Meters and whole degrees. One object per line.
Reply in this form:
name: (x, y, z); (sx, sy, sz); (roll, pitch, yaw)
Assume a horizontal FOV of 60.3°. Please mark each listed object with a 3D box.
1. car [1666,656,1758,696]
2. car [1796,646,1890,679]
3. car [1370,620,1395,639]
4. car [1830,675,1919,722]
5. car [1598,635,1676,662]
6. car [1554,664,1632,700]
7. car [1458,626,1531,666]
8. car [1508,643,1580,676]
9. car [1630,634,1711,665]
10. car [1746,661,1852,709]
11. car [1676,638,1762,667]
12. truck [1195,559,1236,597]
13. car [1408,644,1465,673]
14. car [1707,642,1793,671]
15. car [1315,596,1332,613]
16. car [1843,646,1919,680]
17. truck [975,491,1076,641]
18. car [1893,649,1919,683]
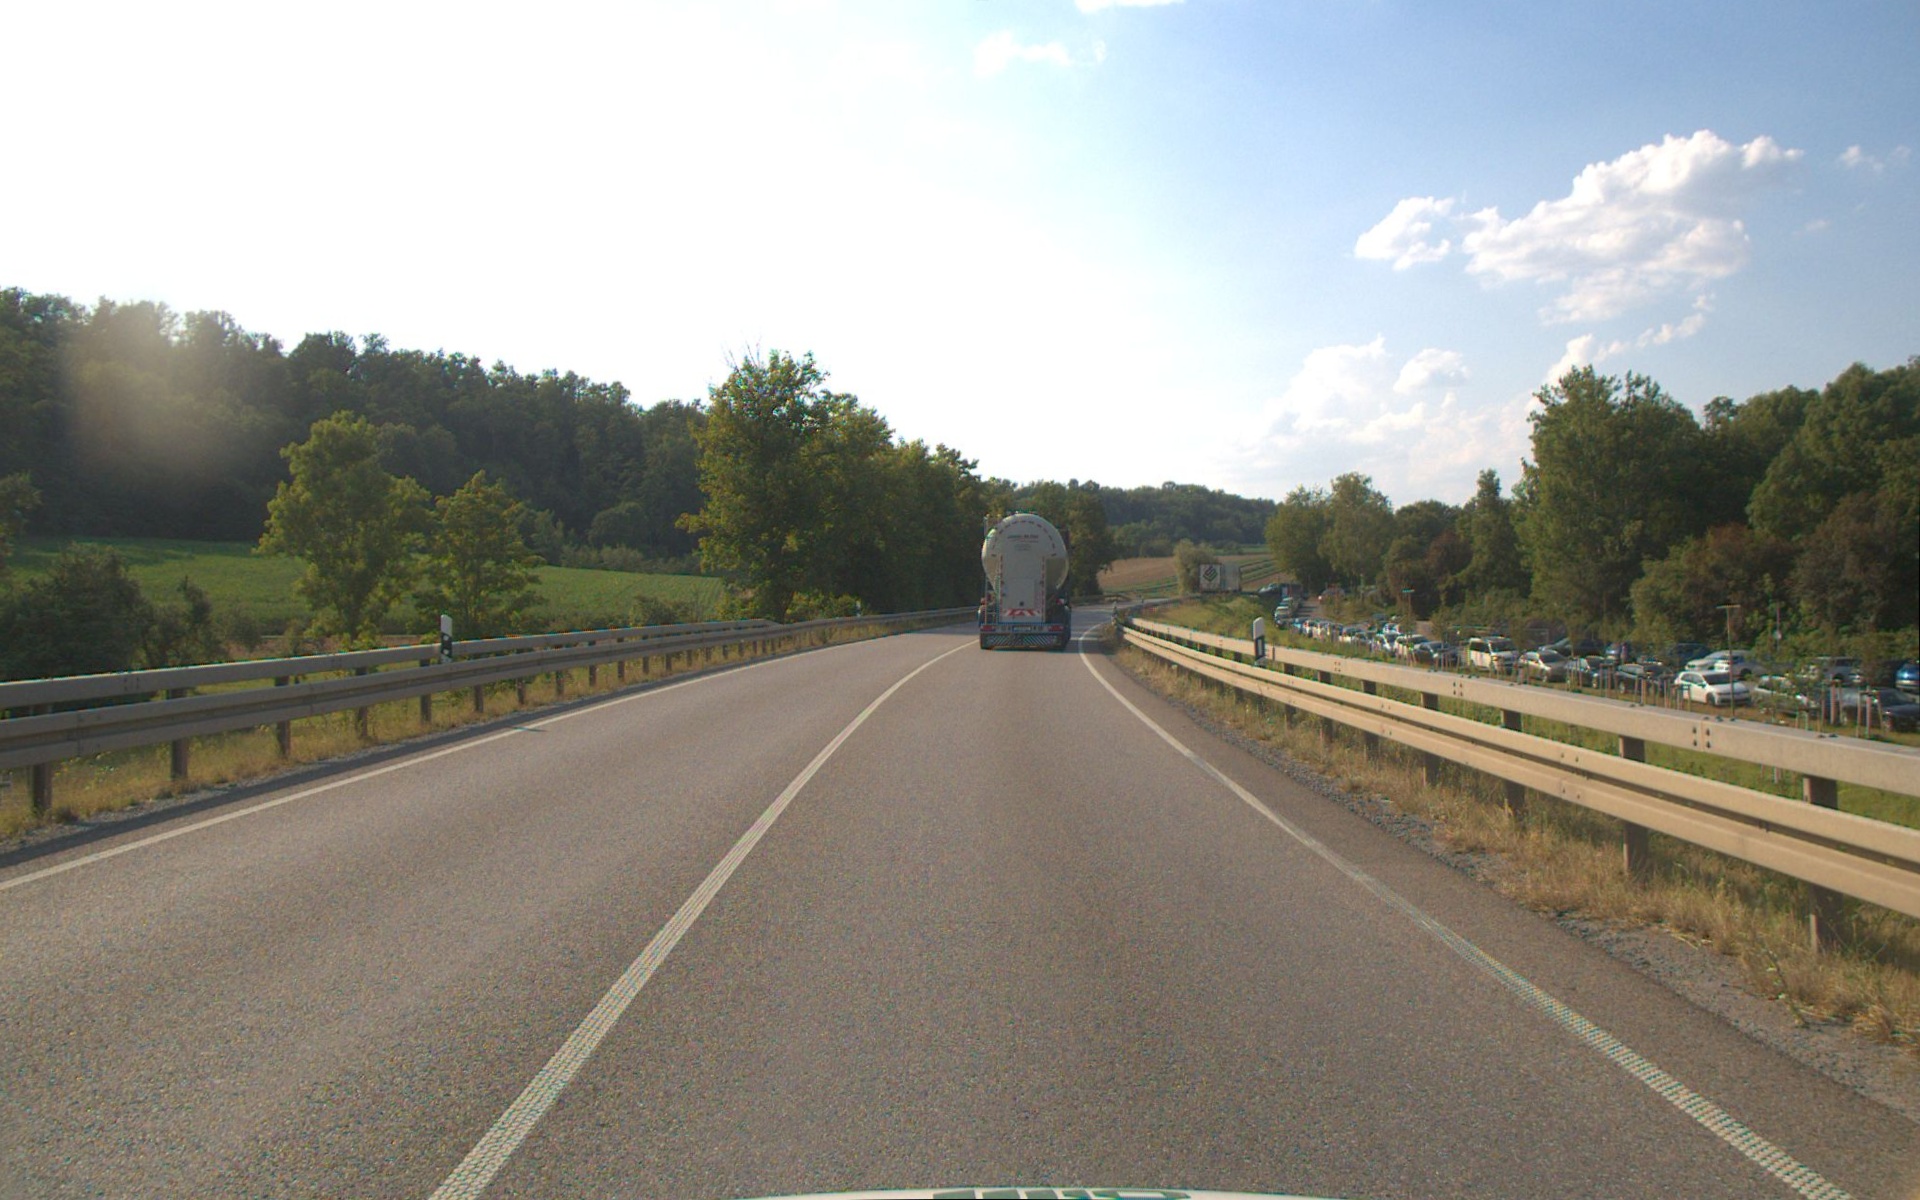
car: (34.895, 3.488, 76.885); (1.785, 1.508, 4.246); (-3, 1, -10)
car: (45.190, 3.165, 84.640); (4.330, 1.481, 1.727); (-1, 1, -17)
car: (37.548, 2.628, 147.100); (1.665, 1.423, 4.789); (-4, 0, 9)
car: (36.425, 3.830, 64.870); (1.785, 1.425, 4.246); (-3, 1, -10)
car: (41.987, 2.987, 102.657); (4.152, 1.632, 1.831); (0, 0, -7)
car: (33.401, 4.317, 87.360); (1.785, 1.508, 4.385); (-3, 1, -10)
car: (32.220, 2.753, 99.922); (2.079, 2.052, 5.372); (-4, 1, -6)
car: (32.887, 3.333, 93.285); (1.856, 1.508, 4.776); (-4, 1, -6)
car: (42.484, 2.951, 98.938); (4.158, 1.773, 1.828); (0, 1, -12)
car: (35.717, 3.581, 70.515); (1.785, 1.687, 4.246); (-3, 1, -10)
car: (42.640, 2.958, 92.959); (4.158, 1.524, 1.767); (0, 1, -12)
truck: (30.222, -2.645, 194.959); (3.116, 4.301, 13.182); (-1, 1, 16)
car: (31.319, 3.820, 108.782); (1.856, 1.508, 4.776); (-4, 1, -6)
car: (43.075, 3.062, 90.155); (4.160, 1.481, 1.612); (0, 0, -13)
car: (43.938, 0.576, 199.897); (1.852, 1.716, 5.092); (-4, 1, 12)
car: (46.009, 3.115, 81.742); (4.160, 1.481, 1.612); (-1, 1, -13)
truck: (2.197, -0.962, 53.062); (2.832, 4.215, 13.177); (0, 0, 3)
car: (47.001, 3.119, 79.118); (4.160, 1.481, 1.612); (-2, 1, -13)
